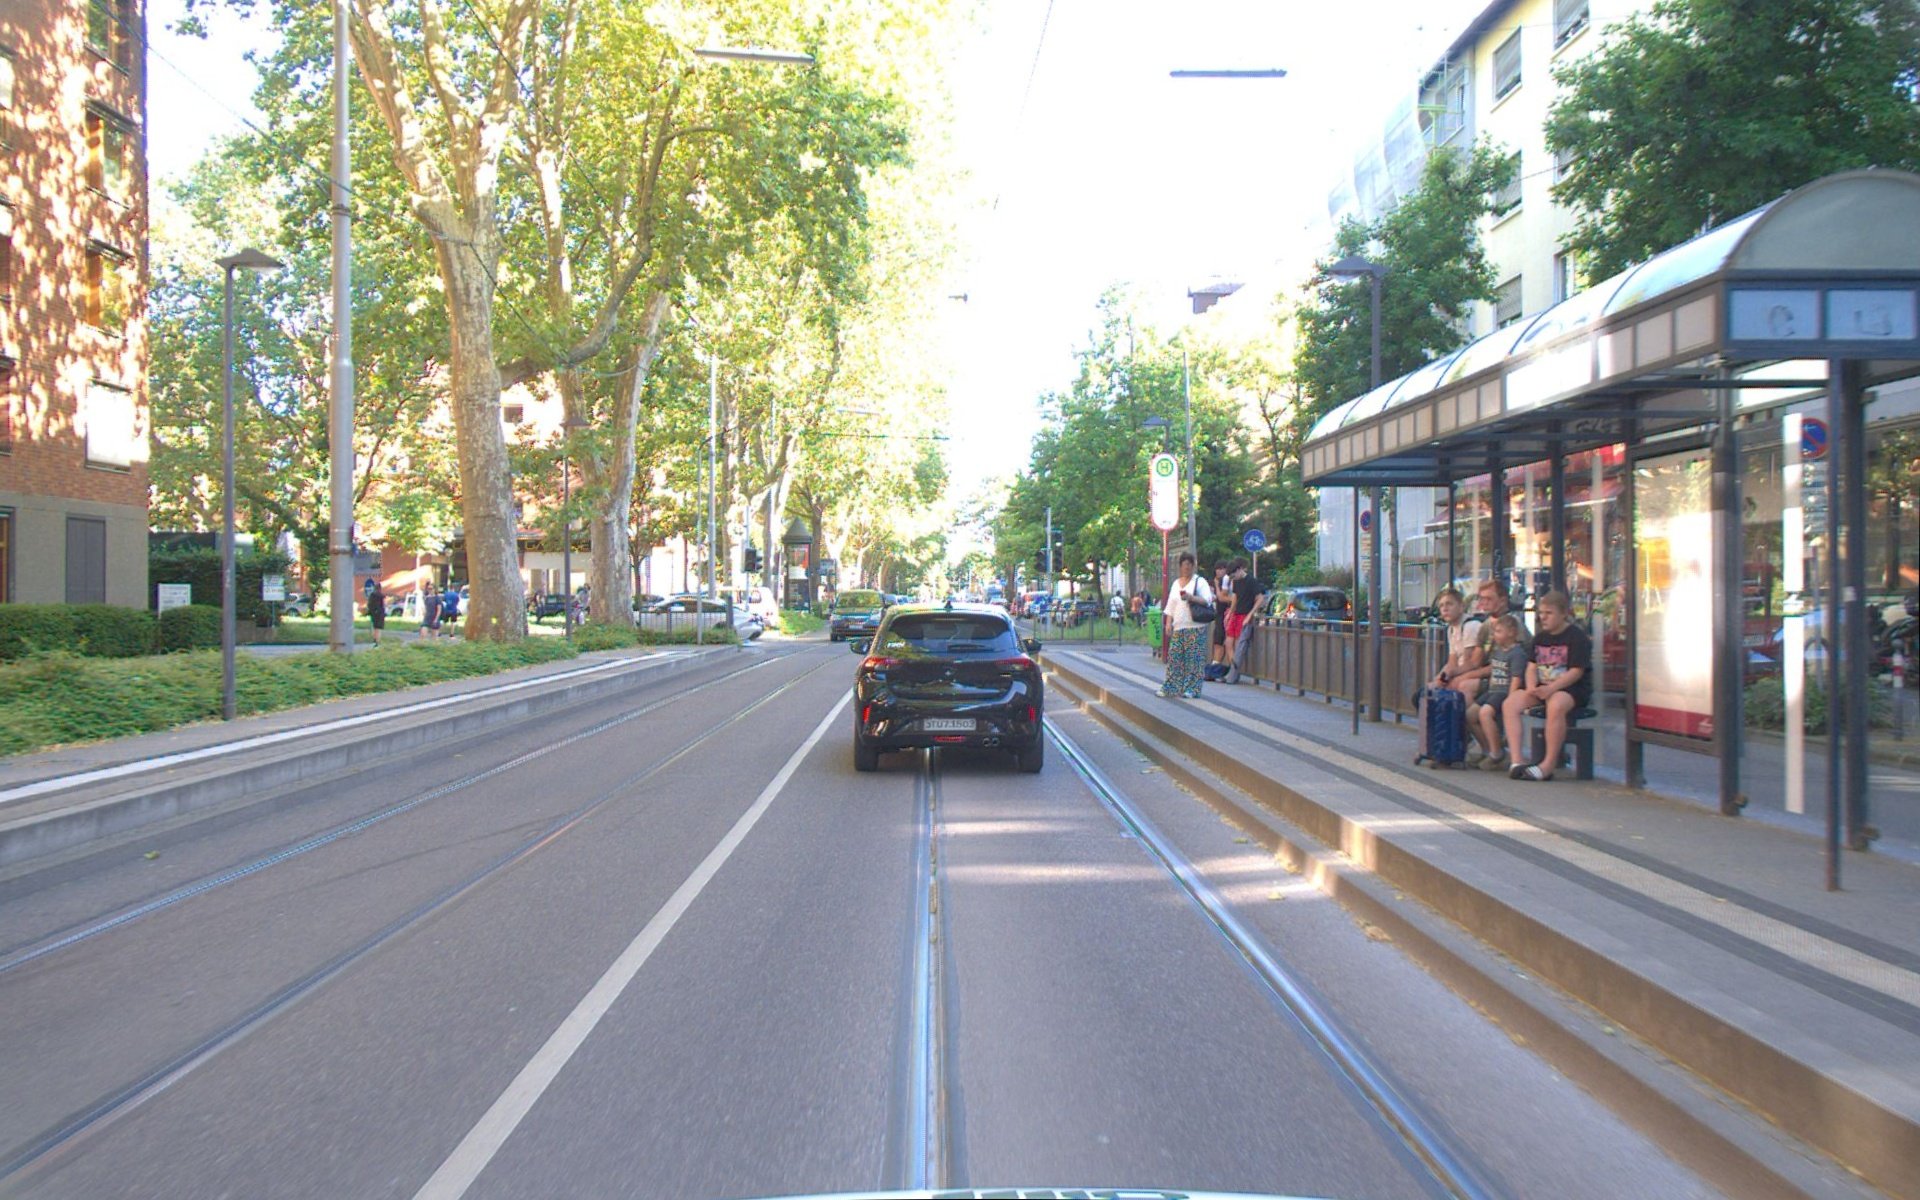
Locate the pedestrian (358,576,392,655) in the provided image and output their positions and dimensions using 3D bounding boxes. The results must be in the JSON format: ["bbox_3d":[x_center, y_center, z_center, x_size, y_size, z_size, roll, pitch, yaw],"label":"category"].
[{"bbox_3d":[-14.926,0.391,42.190,0.660,1.984,0.497,0,-1,32],"label":"pedestrian"}]

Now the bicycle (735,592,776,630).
[{"bbox_3d":[-6.995,0.364,56.658,0.935,1.262,2.978,1,0,2],"label":"bicycle"}]

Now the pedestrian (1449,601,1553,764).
[{"bbox_3d":[3.819,0.572,11.701,0.523,1.119,0.550,1,-1,-5],"label":"pedestrian"}]

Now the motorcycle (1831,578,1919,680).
[{"bbox_3d":[12.587,0.379,22.018,0.874,1.302,2.042,1,0,-1],"label":"motorcycle"}]

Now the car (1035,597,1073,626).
[{"bbox_3d":[5.564,0.654,98.291,1.953,1.661,3.999,1,0,-1],"label":"car"}]

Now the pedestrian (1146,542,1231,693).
[{"bbox_3d":[2.708,0.199,19.572,0.736,1.739,0.761,0,-1,33],"label":"pedestrian"}]

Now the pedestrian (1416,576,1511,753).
[{"bbox_3d":[3.860,0.490,12.707,0.523,1.327,0.550,1,-1,-5],"label":"pedestrian"}]

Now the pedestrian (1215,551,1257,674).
[{"bbox_3d":[4.088,0.184,24.521,0.520,1.793,0.661,1,-1,1],"label":"pedestrian"}]

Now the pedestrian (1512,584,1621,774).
[{"bbox_3d":[4.096,0.525,11.188,0.523,1.252,0.510,1,-1,-5],"label":"pedestrian"}]

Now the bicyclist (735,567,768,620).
[{"bbox_3d":[-7.017,-0.213,55.757,0.921,1.733,1.153,1,-1,2],"label":"bicyclist"}]

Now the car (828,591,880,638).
[{"bbox_3d":[-3.667,0.498,57.696,1.710,1.571,3.998,1,0,-3],"label":"car"}]

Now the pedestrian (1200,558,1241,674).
[{"bbox_3d":[3.972,0.242,25.226,0.520,1.739,0.596,1,-1,1],"label":"pedestrian"}]

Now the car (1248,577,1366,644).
[{"bbox_3d":[8.332,0.252,40.011,1.953,1.512,3.999,1,0,-1],"label":"car"}]

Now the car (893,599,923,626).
[{"bbox_3d":[-3.521,0.830,111.007,1.954,1.723,3.998,1,0,-3],"label":"car"}]

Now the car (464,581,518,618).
[{"bbox_3d":[-26.516,-0.018,93.700,1.953,2.049,3.999,1,0,-1],"label":"car"}]

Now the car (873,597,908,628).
[{"bbox_3d":[-4.018,0.732,94.976,1.954,1.723,3.998,1,0,-3],"label":"car"}]

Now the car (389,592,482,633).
[{"bbox_3d":[-27.238,0.642,86.040,4.164,2.049,1.999,1,0,-1],"label":"car"}]

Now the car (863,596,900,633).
[{"bbox_3d":[-3.863,0.698,81.283,1.749,1.723,3.998,1,0,-3],"label":"car"}]

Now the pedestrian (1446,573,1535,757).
[{"bbox_3d":[3.915,0.473,12.212,0.493,1.327,0.428,1,-1,-5],"label":"pedestrian"}]

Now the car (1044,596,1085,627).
[{"bbox_3d":[5.788,0.619,91.719,1.953,1.661,3.999,1,0,-1],"label":"car"}]

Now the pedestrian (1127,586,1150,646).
[{"bbox_3d":[6.131,0.542,56.788,0.661,2.049,0.702,2,0,10],"label":"pedestrian"}]

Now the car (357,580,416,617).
[{"bbox_3d":[-32.398,-0.060,93.500,1.953,2.049,3.999,1,0,-1],"label":"car"}]

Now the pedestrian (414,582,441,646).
[{"bbox_3d":[-16.812,0.438,52.241,0.659,1.984,0.497,2,0,-5],"label":"pedestrian"}]

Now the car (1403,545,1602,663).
[{"bbox_3d":[9.068,0.078,28.014,1.953,1.829,3.998,1,0,-2],"label":"car"}]

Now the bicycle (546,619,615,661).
[{"bbox_3d":[-11.972,1.257,52.262,0.934,1.262,2.980,1,0,12],"label":"bicycle"}]

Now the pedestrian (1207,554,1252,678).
[{"bbox_3d":[3.870,0.227,23.785,0.520,1.739,0.752,1,-1,1],"label":"pedestrian"}]

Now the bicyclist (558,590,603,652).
[{"bbox_3d":[-11.967,0.657,52.219,0.934,1.910,1.207,1,-1,12],"label":"bicyclist"}]

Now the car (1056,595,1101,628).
[{"bbox_3d":[6.070,0.586,85.243,1.953,1.661,3.999,1,0,-1],"label":"car"}]

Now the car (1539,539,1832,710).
[{"bbox_3d":[9.244,0.300,21.464,1.953,1.986,3.998,1,0,-2],"label":"car"}]

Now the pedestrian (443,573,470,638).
[{"bbox_3d":[-15.660,0.158,51.475,0.659,1.984,0.497,2,0,-5],"label":"pedestrian"}]

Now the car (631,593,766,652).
[{"bbox_3d":[-8.086,0.693,51.385,4.037,1.731,1.880,1,0,-8],"label":"car"}]

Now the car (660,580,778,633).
[{"bbox_3d":[-9.026,0.243,62.076,4.303,1.884,1.996,1,0,-8],"label":"car"}]

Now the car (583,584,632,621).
[{"bbox_3d":[-20.132,0.153,94.583,1.953,2.049,3.999,1,0,-1],"label":"car"}]

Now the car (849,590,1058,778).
[{"bbox_3d":[-0.149,0.700,15.546,1.725,1.534,3.680,-1,0,-3],"label":"car"}]

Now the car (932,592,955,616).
[{"bbox_3d":[-1.407,0.349,139.932,1.953,2.049,3.999,1,0,-1],"label":"car"}]

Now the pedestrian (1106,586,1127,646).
[{"bbox_3d":[5.436,0.561,57.324,0.661,2.049,0.701,2,0,5],"label":"pedestrian"}]

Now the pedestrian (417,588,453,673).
[{"bbox_3d":[-12.419,0.726,39.128,0.658,1.984,0.498,1,-1,-1],"label":"pedestrian"}]
